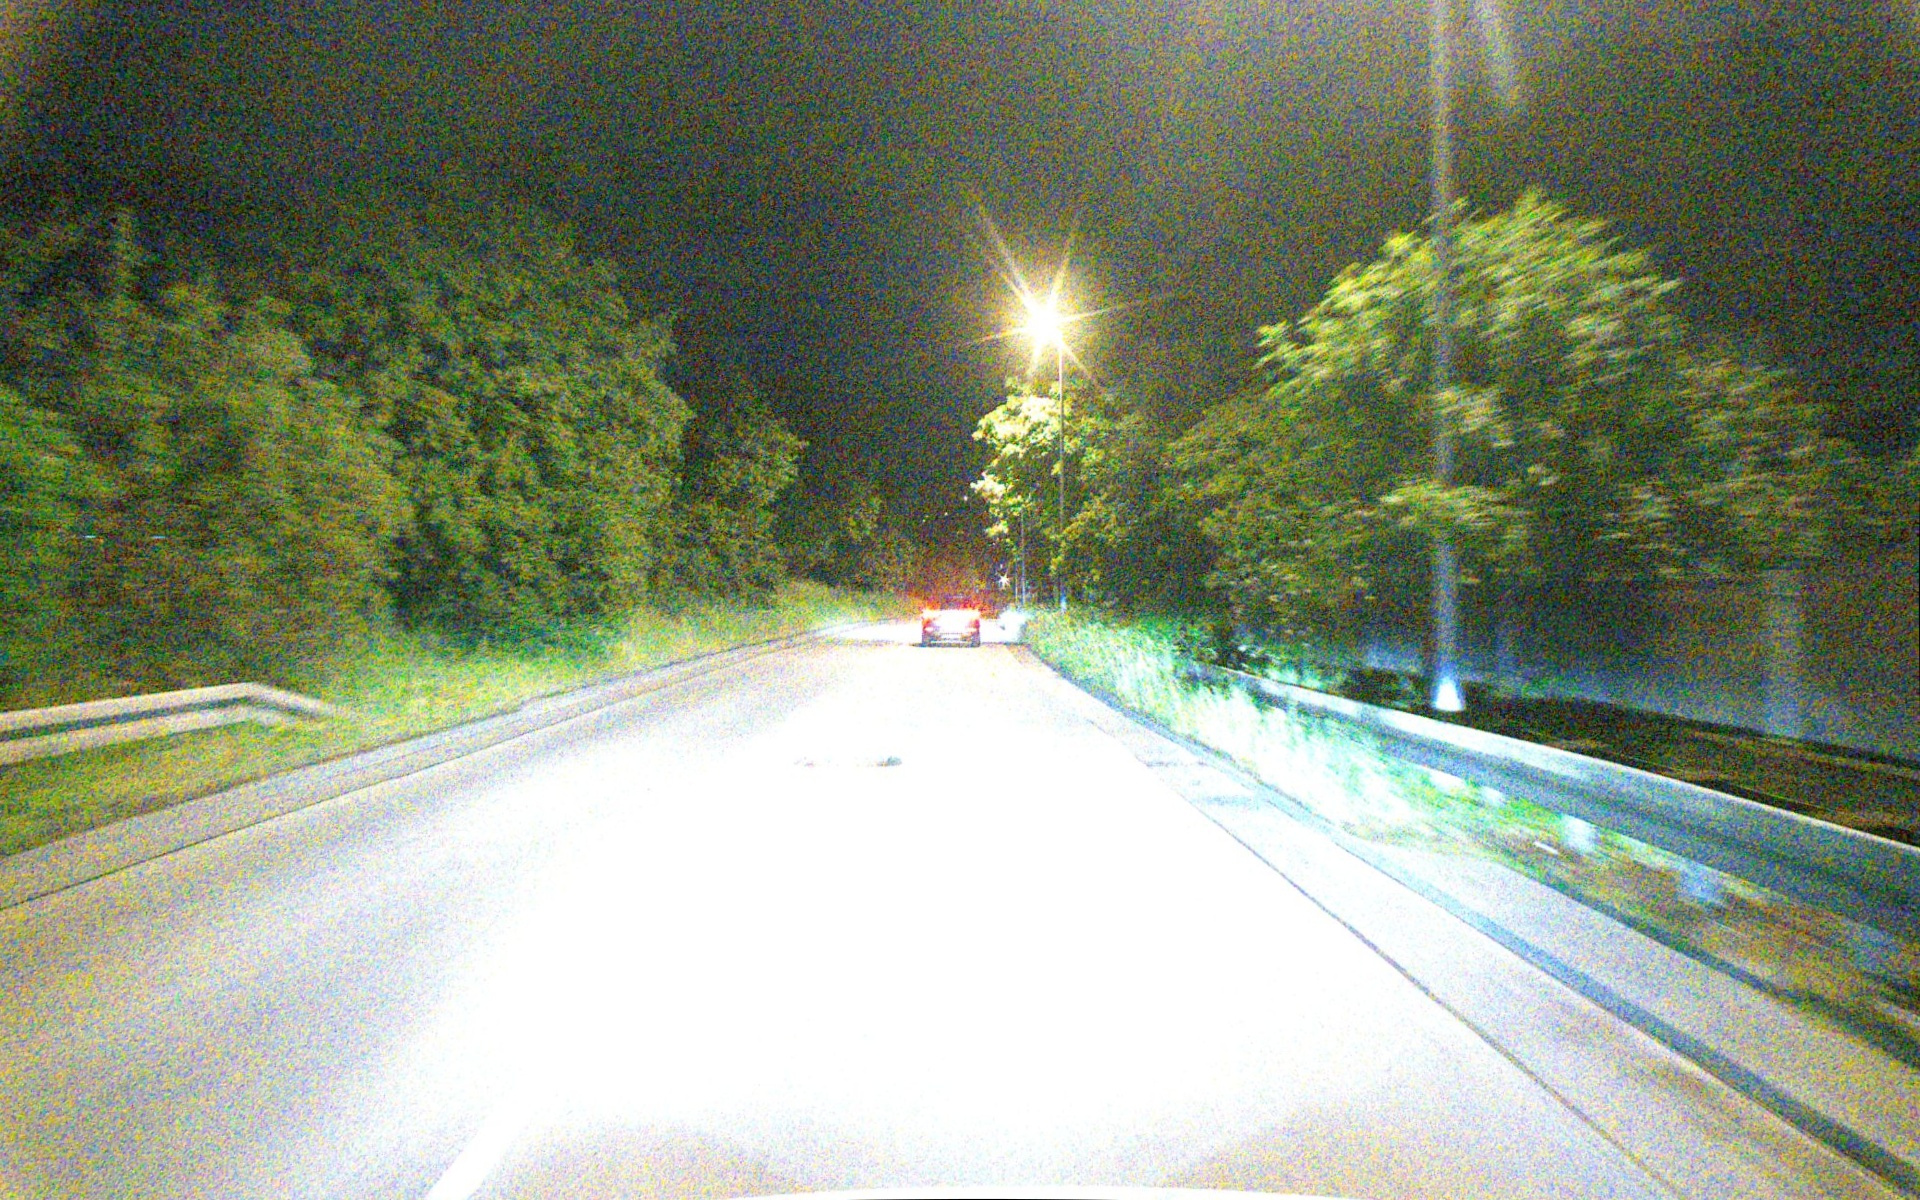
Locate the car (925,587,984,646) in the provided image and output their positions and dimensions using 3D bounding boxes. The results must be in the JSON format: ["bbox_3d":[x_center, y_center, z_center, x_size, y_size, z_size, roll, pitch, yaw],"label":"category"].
[{"bbox_3d":[-0.176,0.486,50.649,1.727,1.670,3.723,1,1,0],"label":"car"}]
